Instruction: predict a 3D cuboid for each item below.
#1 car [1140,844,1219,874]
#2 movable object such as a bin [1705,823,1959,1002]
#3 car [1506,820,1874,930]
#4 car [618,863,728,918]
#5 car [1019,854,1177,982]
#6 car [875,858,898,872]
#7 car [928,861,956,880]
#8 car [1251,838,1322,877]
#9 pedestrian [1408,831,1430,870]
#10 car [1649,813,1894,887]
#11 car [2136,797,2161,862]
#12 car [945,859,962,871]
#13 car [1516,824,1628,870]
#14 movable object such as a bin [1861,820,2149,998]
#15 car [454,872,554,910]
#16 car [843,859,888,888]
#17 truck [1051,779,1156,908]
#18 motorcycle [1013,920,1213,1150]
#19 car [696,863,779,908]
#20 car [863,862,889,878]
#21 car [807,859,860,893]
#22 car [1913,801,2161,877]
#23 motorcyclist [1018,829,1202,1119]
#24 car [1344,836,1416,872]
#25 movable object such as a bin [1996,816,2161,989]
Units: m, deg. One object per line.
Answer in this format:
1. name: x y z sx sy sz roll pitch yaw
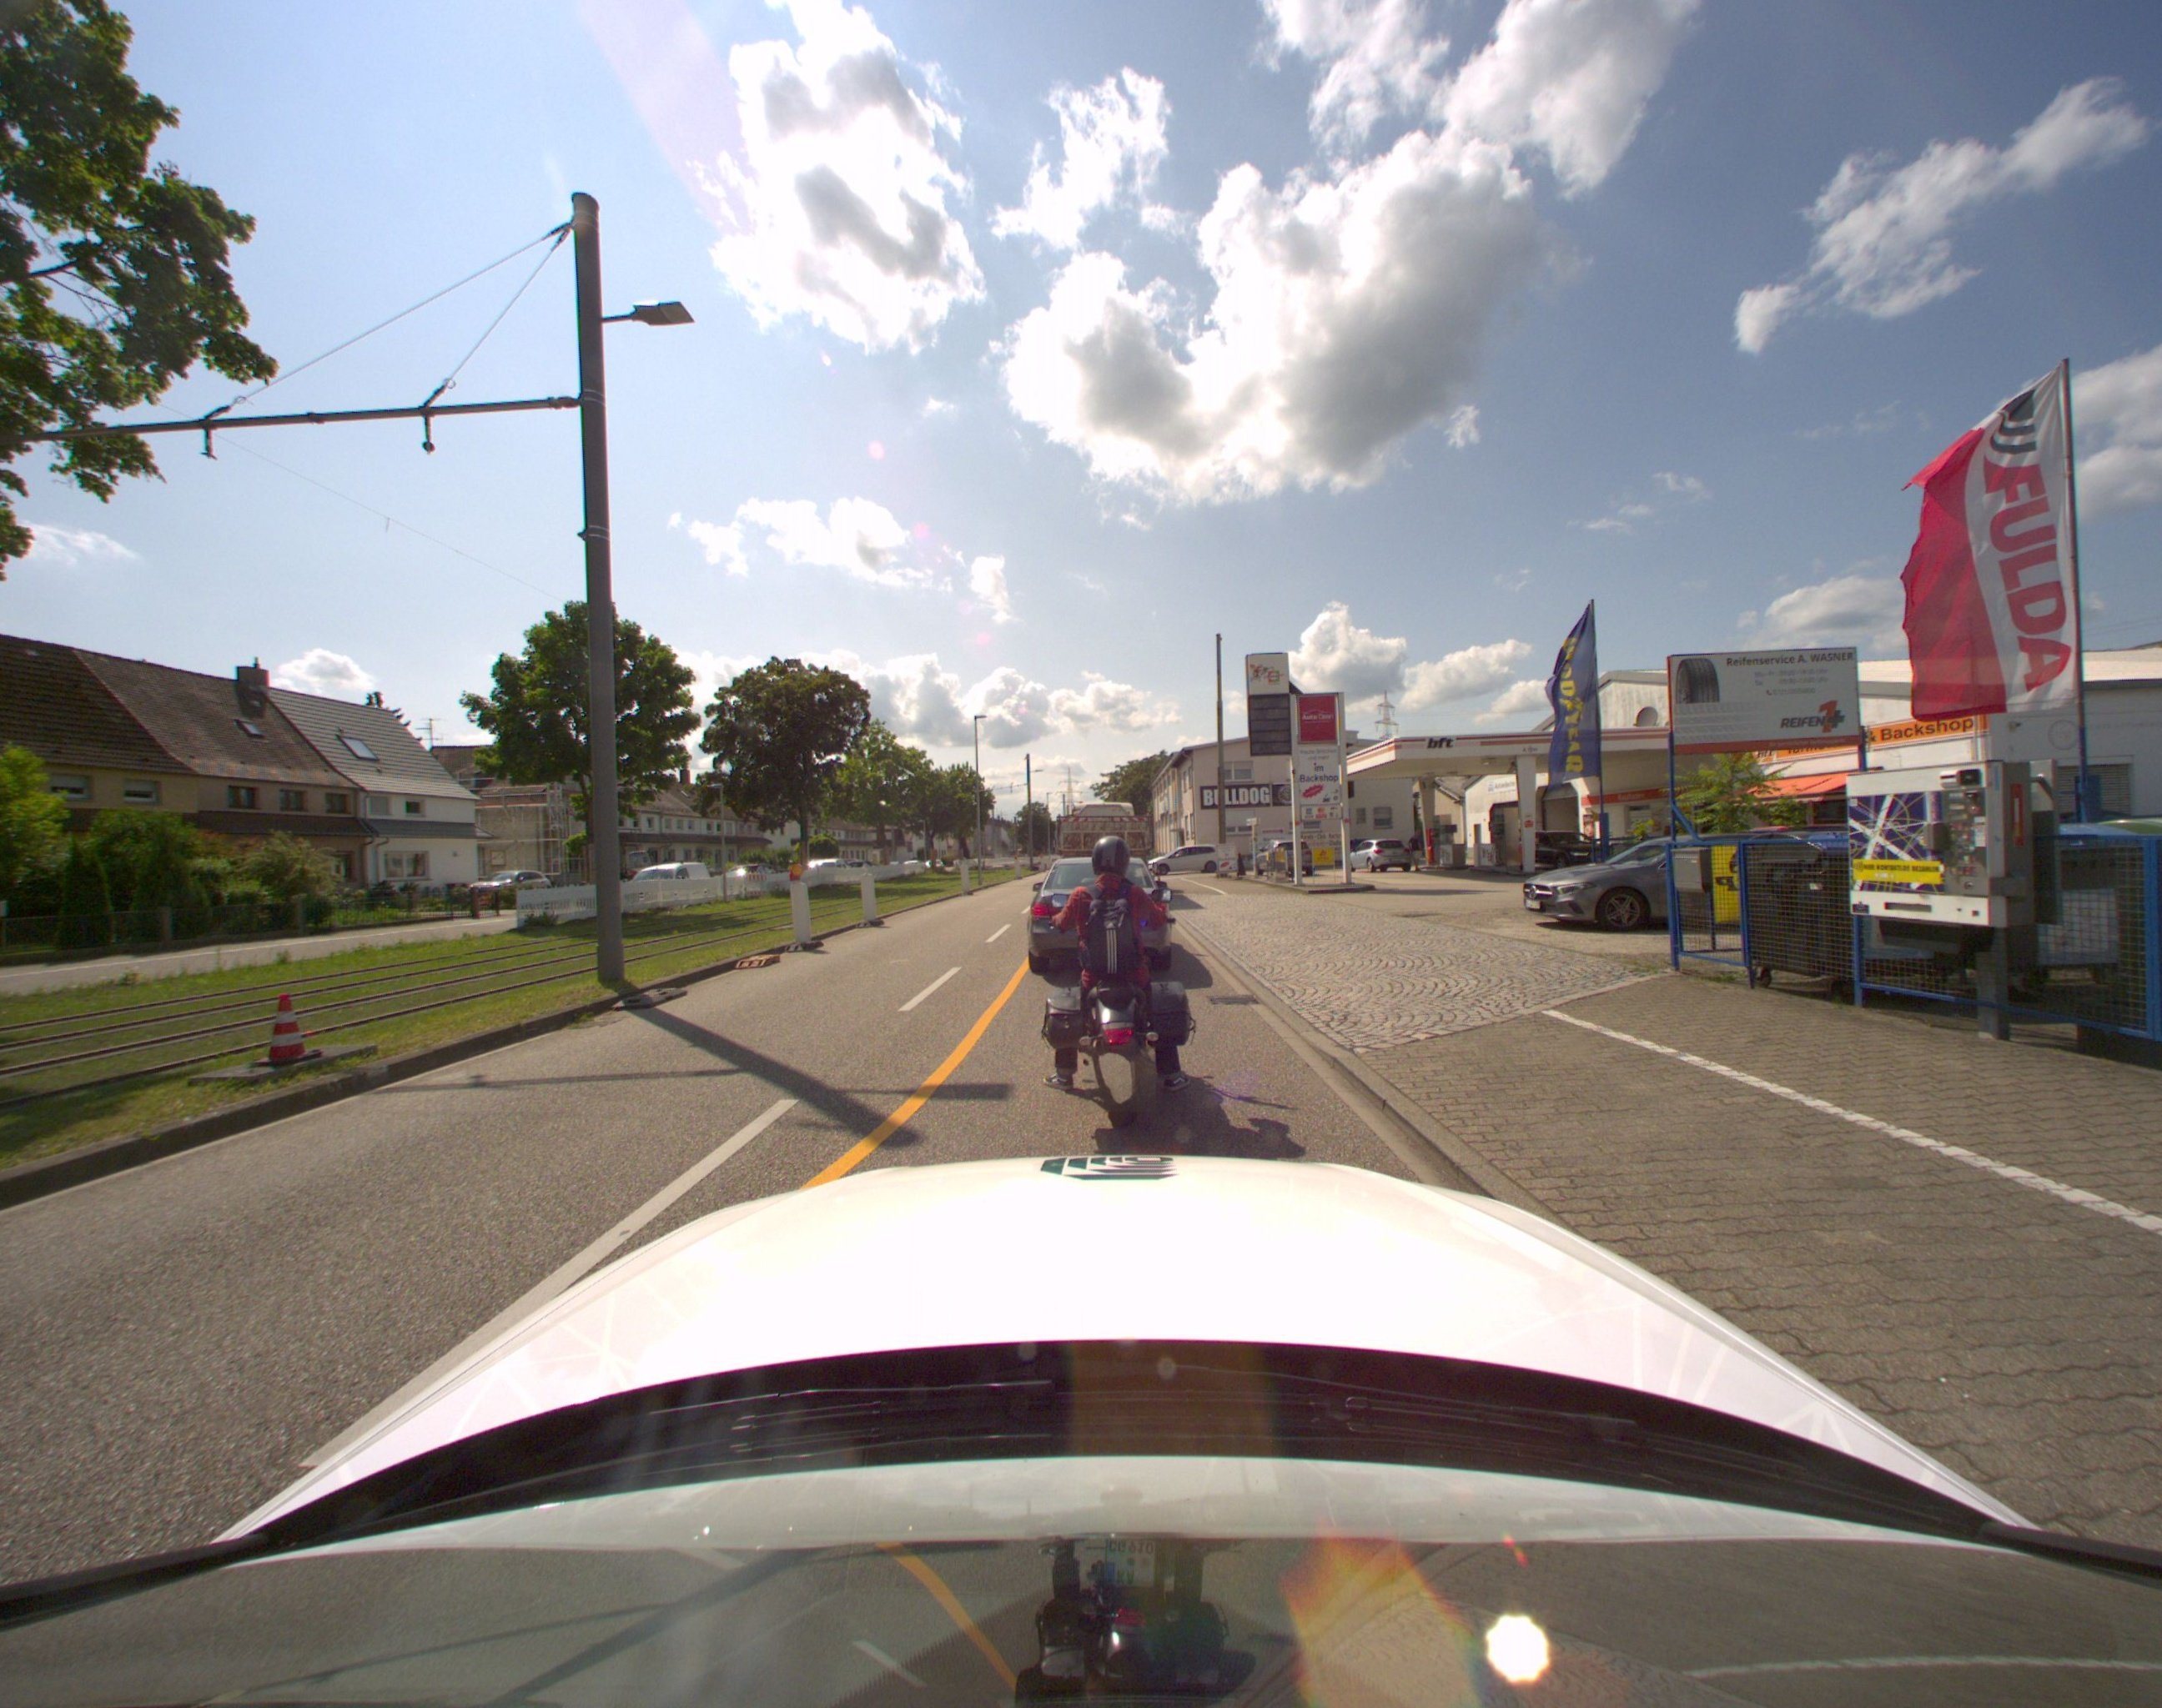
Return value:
1. car: 5.642 0.291 47.088 4.225 1.543 1.669 -2 0 -7
2. movable object such as a bin: 6.691 0.478 7.362 1.104 1.436 1.244 -2 0 1
3. car: 9.141 0.306 12.539 4.250 1.415 1.677 -2 0 6
4. car: -15.463 1.315 31.159 1.769 1.821 4.366 -2 0 2
5. car: 0.260 0.741 11.439 1.816 1.452 4.002 0 0 2
6. car: -25.159 1.397 105.206 1.769 1.722 4.130 -2 0 2
7. car: -13.724 1.628 80.523 1.769 1.722 4.130 -2 0 2
8. car: 9.118 0.149 36.456 1.665 1.562 4.235 -2 0 -6
9. pedestrian: 14.654 -0.133 35.321 0.701 1.656 0.551 -2 0 37
10. car: 15.776 -0.089 18.761 4.180 1.463 1.587 -2 0 2
11. car: 26.528 -0.637 18.005 4.180 1.463 1.587 -2 0 2
12. car: -19.632 1.629 125.920 1.769 1.722 4.130 -2 0 2
13. car: 17.999 -0.244 30.083 1.800 1.503 3.833 -2 0 0
14. movable object such as a bin: 8.085 0.444 7.222 1.104 1.396 1.244 -2 0 1
15. car: -27.435 1.723 38.898 1.769 1.519 4.002 -2 0 2
16. car: -14.803 1.333 56.042 1.769 1.805 4.130 -2 0 2
17. truck: 0.729 -0.289 25.503 2.628 3.296 8.059 -2 0 2
18. motorcycle: 0.206 1.024 5.448 0.975 0.897 2.654 -2 0 2
19. car: -15.406 1.386 36.802 1.769 1.774 4.230 -2 0 2
20. car: -24.387 1.834 97.046 1.769 1.722 4.130 -2 0 2
21. car: -15.062 1.325 49.864 1.769 1.867 4.130 -2 0 2
22. car: 21.524 -0.340 18.168 4.180 1.463 1.587 -2 0 2
23. motorcyclist: 0.182 0.675 5.144 0.975 1.602 1.088 -2 0 1
24. car: 13.478 -0.009 36.923 1.800 1.503 3.832 -2 0 -1
25. movable object such as a bin: 9.488 0.374 7.134 1.397 1.396 1.338 -2 0 1
